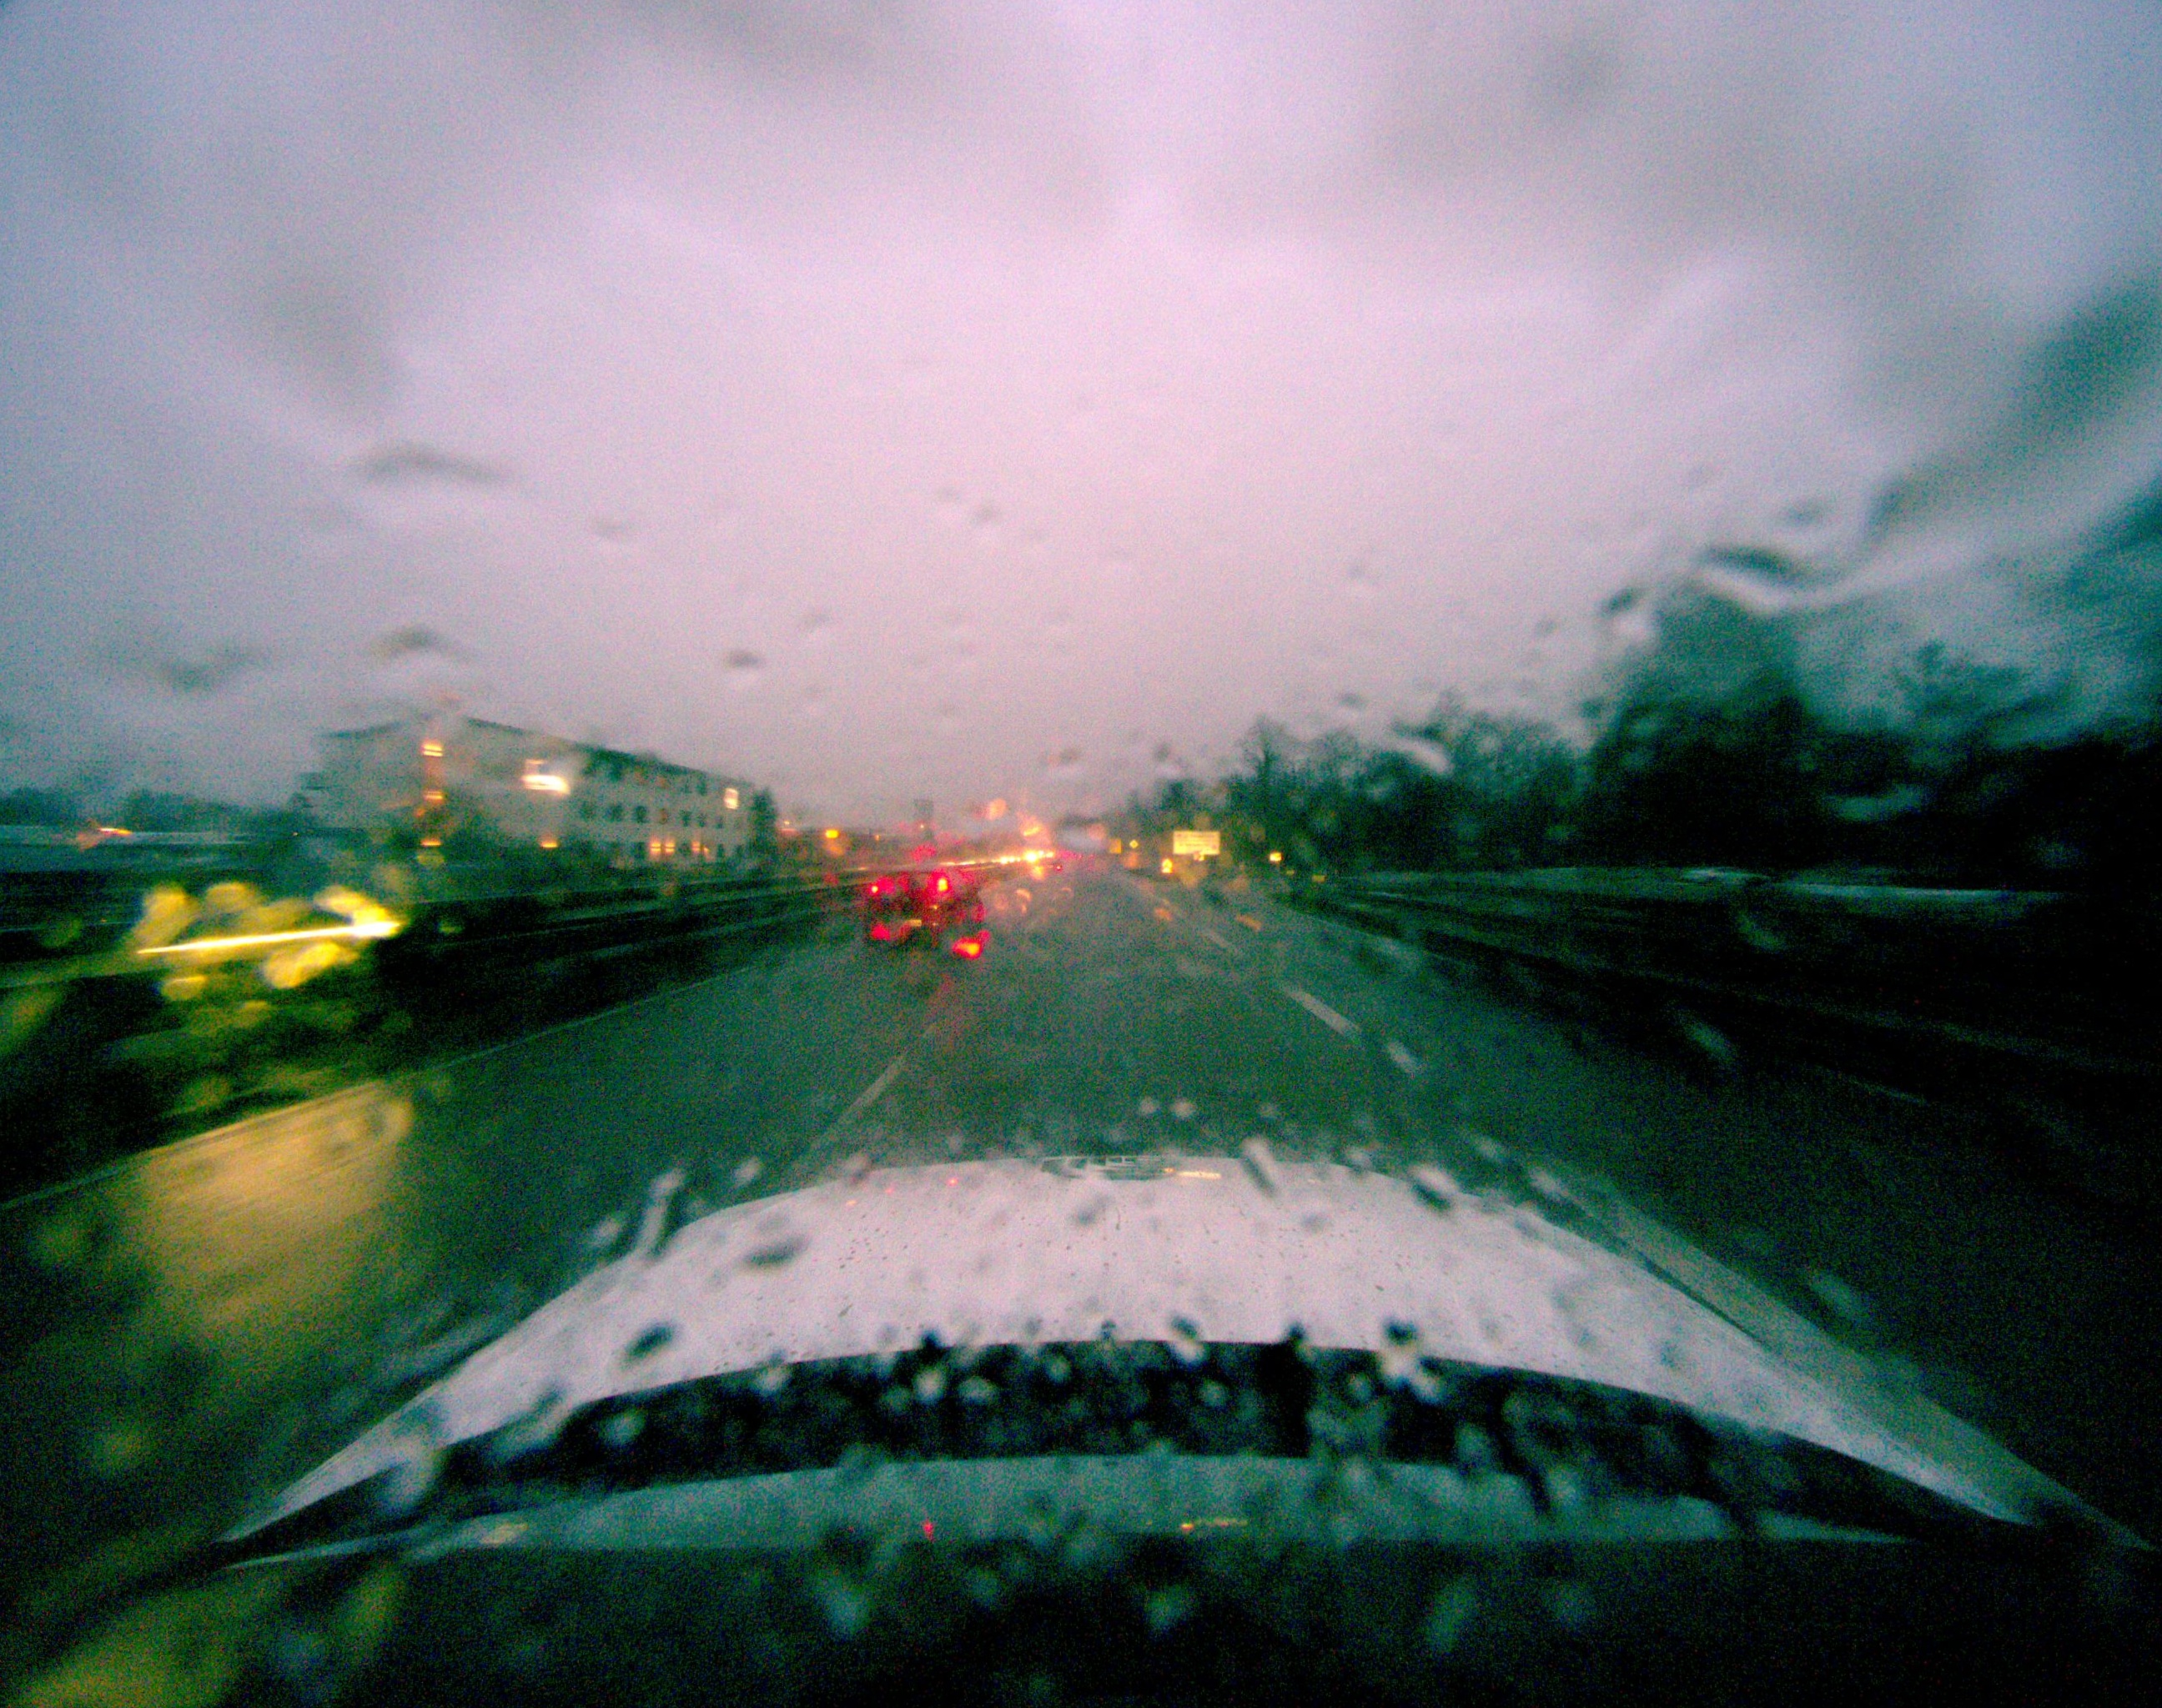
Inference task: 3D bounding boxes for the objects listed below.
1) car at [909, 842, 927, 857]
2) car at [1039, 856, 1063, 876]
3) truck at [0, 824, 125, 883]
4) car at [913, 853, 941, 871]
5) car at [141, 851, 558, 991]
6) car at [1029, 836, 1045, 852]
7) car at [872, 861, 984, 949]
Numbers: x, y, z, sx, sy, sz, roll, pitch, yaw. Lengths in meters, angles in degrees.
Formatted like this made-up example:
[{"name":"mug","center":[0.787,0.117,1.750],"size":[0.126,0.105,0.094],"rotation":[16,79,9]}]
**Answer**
[{"name":"car","center":[-20.877,-0.536,104.334],"size":[1.889,1.821,3.864],"rotation":[2,0,-7]},{"name":"car","center":[-2.323,0.919,63.679],"size":[1.771,1.534,4.700],"rotation":[0,0,-1]},{"name":"truck","center":[-46.306,-0.069,35.219],"size":[1.989,2.454,6.794],"rotation":[2,0,-3]},{"name":"car","center":[-12.778,0.623,67.791],"size":[1.604,1.400,3.621],"rotation":[-1,0,1]},{"name":"car","center":[-9.856,0.759,11.620],"size":[1.871,1.580,4.480],"rotation":[-1,0,0]},{"name":"car","center":[-6.093,-1.361,112.980],"size":[2.120,2.120,3.569],"rotation":[2,1,-5]},{"name":"car","center":[-2.853,0.897,15.817],"size":[1.523,1.415,3.478],"rotation":[2,0,-1]}]
